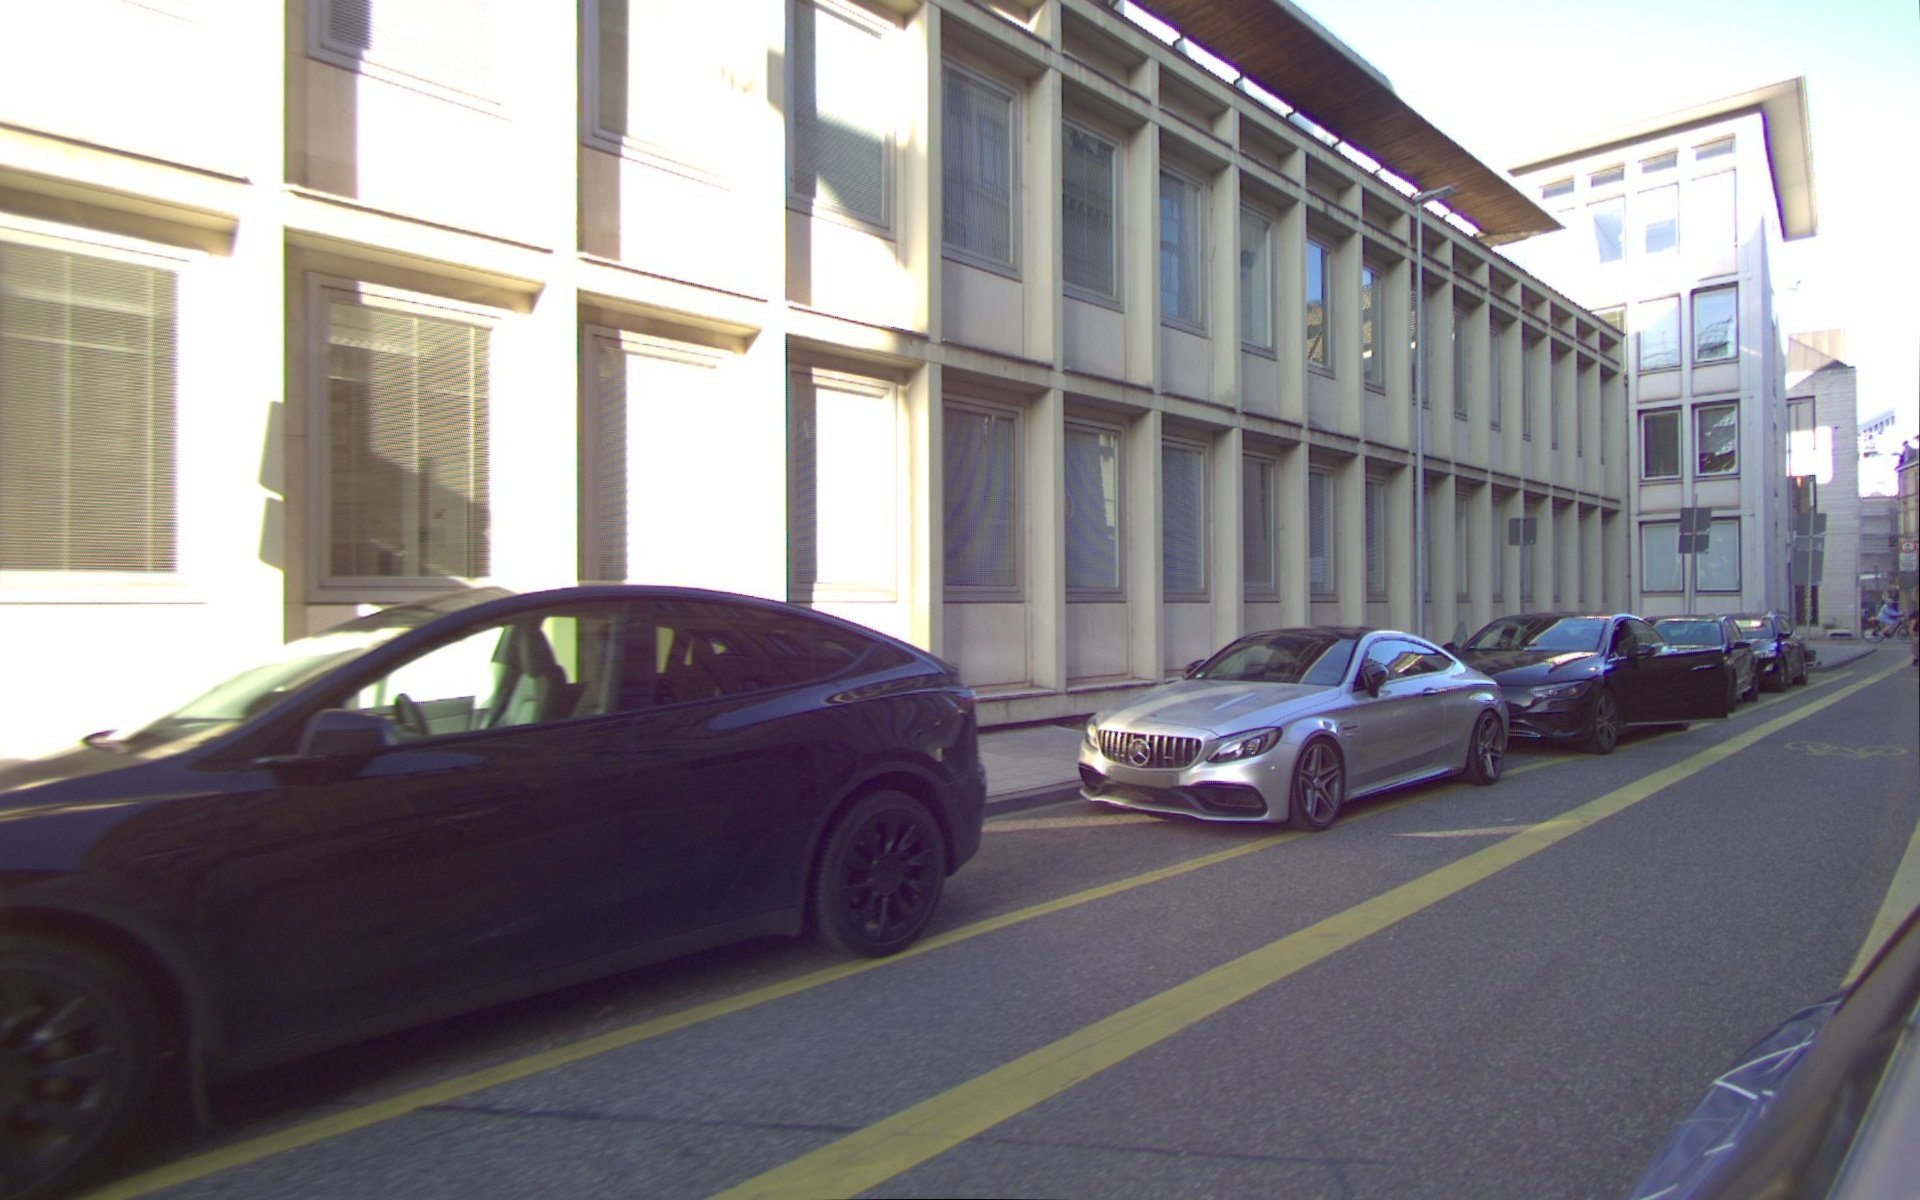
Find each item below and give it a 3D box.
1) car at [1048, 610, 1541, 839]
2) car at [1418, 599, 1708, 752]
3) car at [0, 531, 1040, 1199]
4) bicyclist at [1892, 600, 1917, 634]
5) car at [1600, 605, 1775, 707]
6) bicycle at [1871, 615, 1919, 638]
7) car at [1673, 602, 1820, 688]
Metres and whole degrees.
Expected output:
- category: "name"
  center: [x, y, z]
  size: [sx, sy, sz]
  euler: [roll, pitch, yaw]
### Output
- category: "car"
  center: [2.924, 0.786, 8.276]
  size: [4.516, 1.361, 1.700]
  euler: [0, -1, -40]
- category: "car"
  center: [7.350, 0.746, 12.106]
  size: [4.710, 1.489, 1.698]
  euler: [0, -1, -43]
- category: "car"
  center: [-1.929, 0.668, 4.049]
  size: [4.542, 1.644, 1.896]
  euler: [0, -1, -42]
- category: "bicyclist"
  center: [37.147, 0.663, 39.801]
  size: [0.528, 1.305, 0.613]
  euler: [0, -1, -36]
- category: "car"
  center: [11.679, 0.807, 16.155]
  size: [3.822, 1.417, 1.628]
  euler: [0, -1, -45]
- category: "bicycle"
  center: [37.145, 1.037, 39.809]
  size: [0.525, 0.921, 1.873]
  euler: [0, -1, -35]
- category: "car"
  center: [15.468, 0.805, 19.831]
  size: [4.184, 1.510, 1.694]
  euler: [0, -1, -44]
